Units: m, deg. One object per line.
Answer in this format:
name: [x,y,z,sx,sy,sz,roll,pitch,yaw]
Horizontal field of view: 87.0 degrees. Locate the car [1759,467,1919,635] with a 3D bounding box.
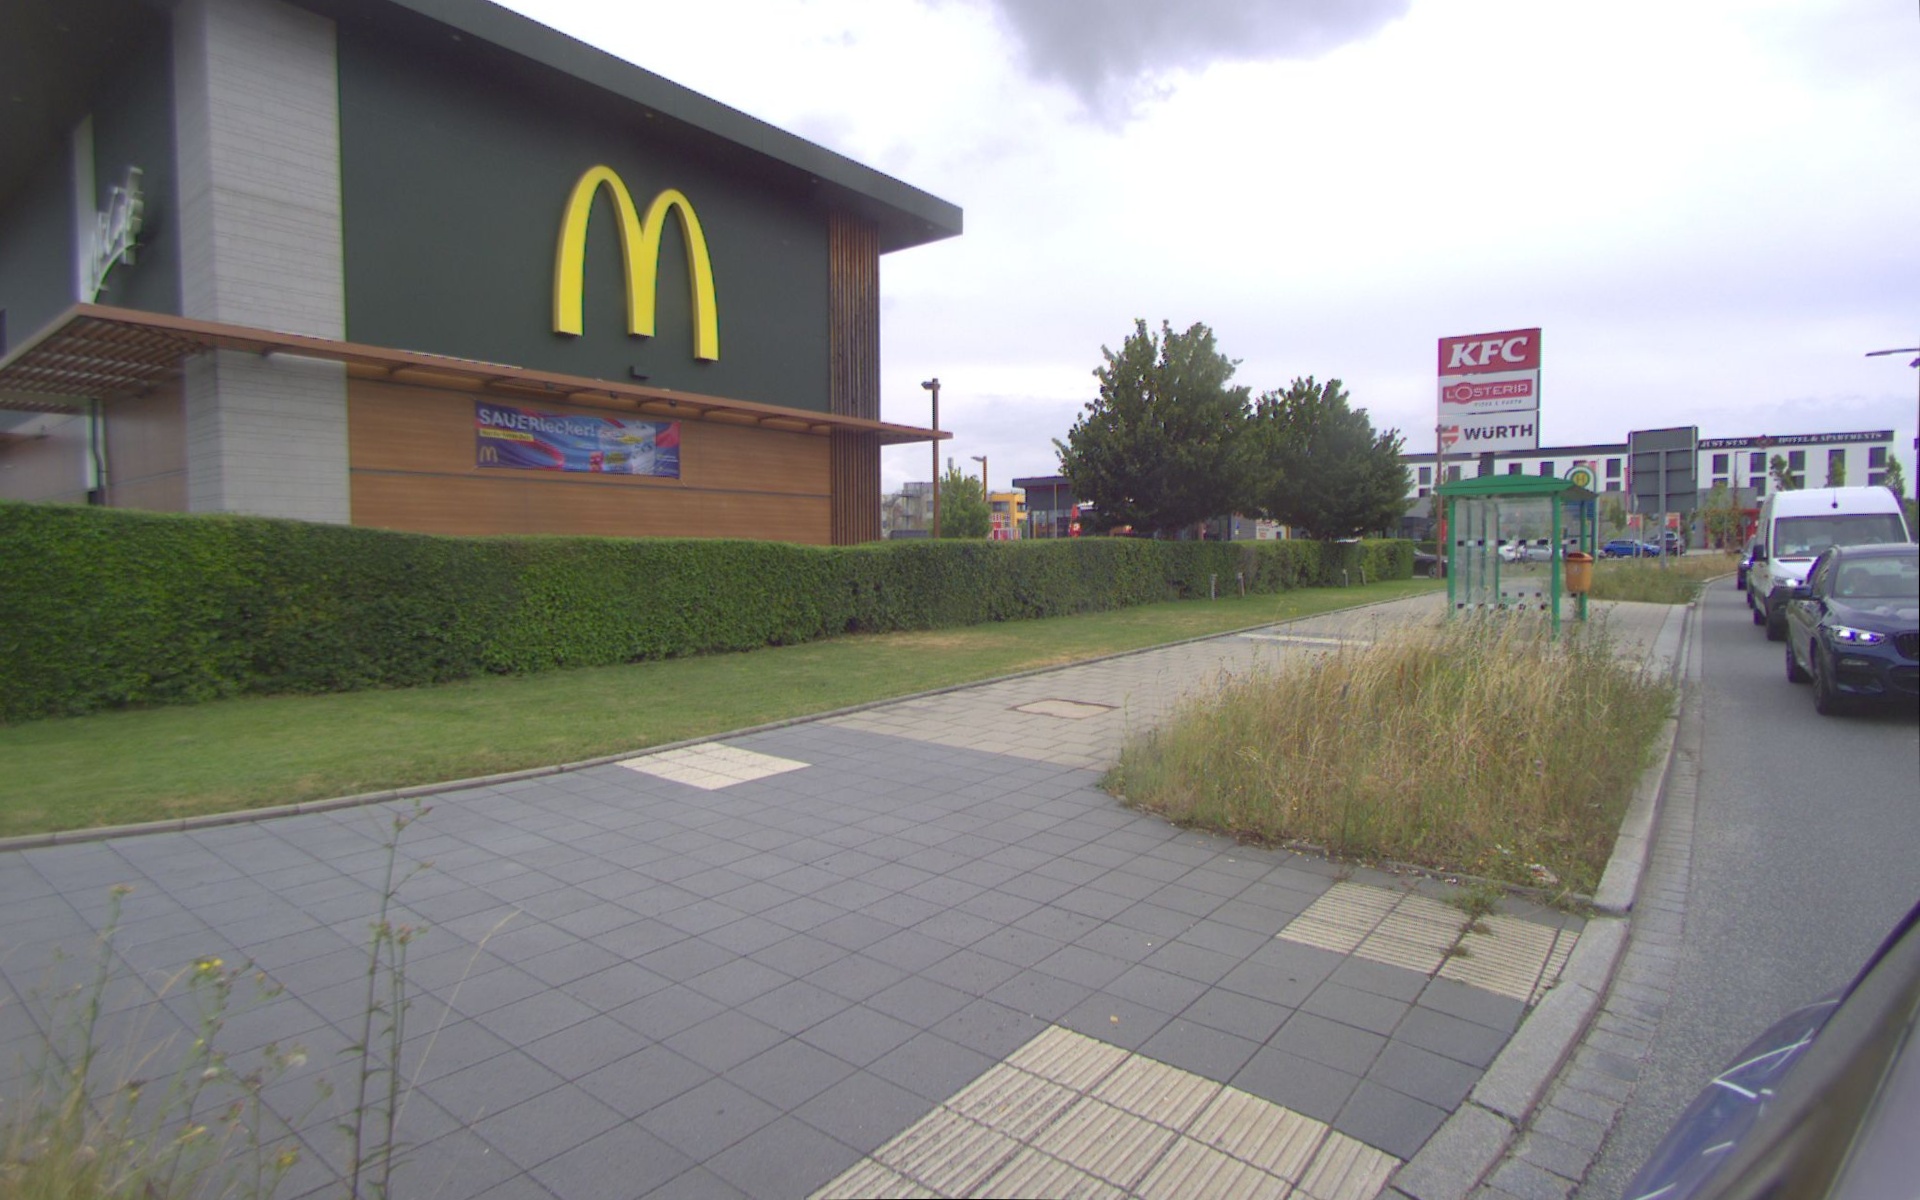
car: [15.859,-0.907,18.289,2.016,2.558,6.027,1,3,36]

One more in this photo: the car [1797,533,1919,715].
car: [10.028,0.124,10.471,1.858,1.627,3.949,1,3,37]

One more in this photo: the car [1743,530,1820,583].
car: [26.977,-1.452,33.291,1.859,1.627,3.946,1,3,38]

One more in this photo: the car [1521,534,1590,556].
car: [43.719,-4.020,74.360,1.815,1.504,3.996,-3,3,-39]

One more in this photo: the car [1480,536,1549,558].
car: [39.578,-3.793,72.257,1.817,1.504,3.990,-3,4,-44]

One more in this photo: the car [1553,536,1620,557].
car: [47.749,-4.050,77.196,1.815,1.504,3.996,-3,3,-39]

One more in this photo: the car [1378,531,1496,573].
car: [19.466,-1.951,41.360,3.984,1.504,1.820,-1,3,42]

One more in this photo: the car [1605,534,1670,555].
car: [55.485,-4.546,82.925,1.813,1.504,4.000,-4,3,-35]

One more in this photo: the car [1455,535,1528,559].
car: [35.962,-3.559,68.533,1.817,1.540,3.991,-3,4,-43]

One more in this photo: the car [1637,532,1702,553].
car: [58.263,-4.733,83.202,1.813,1.504,4.000,-4,3,-35]
